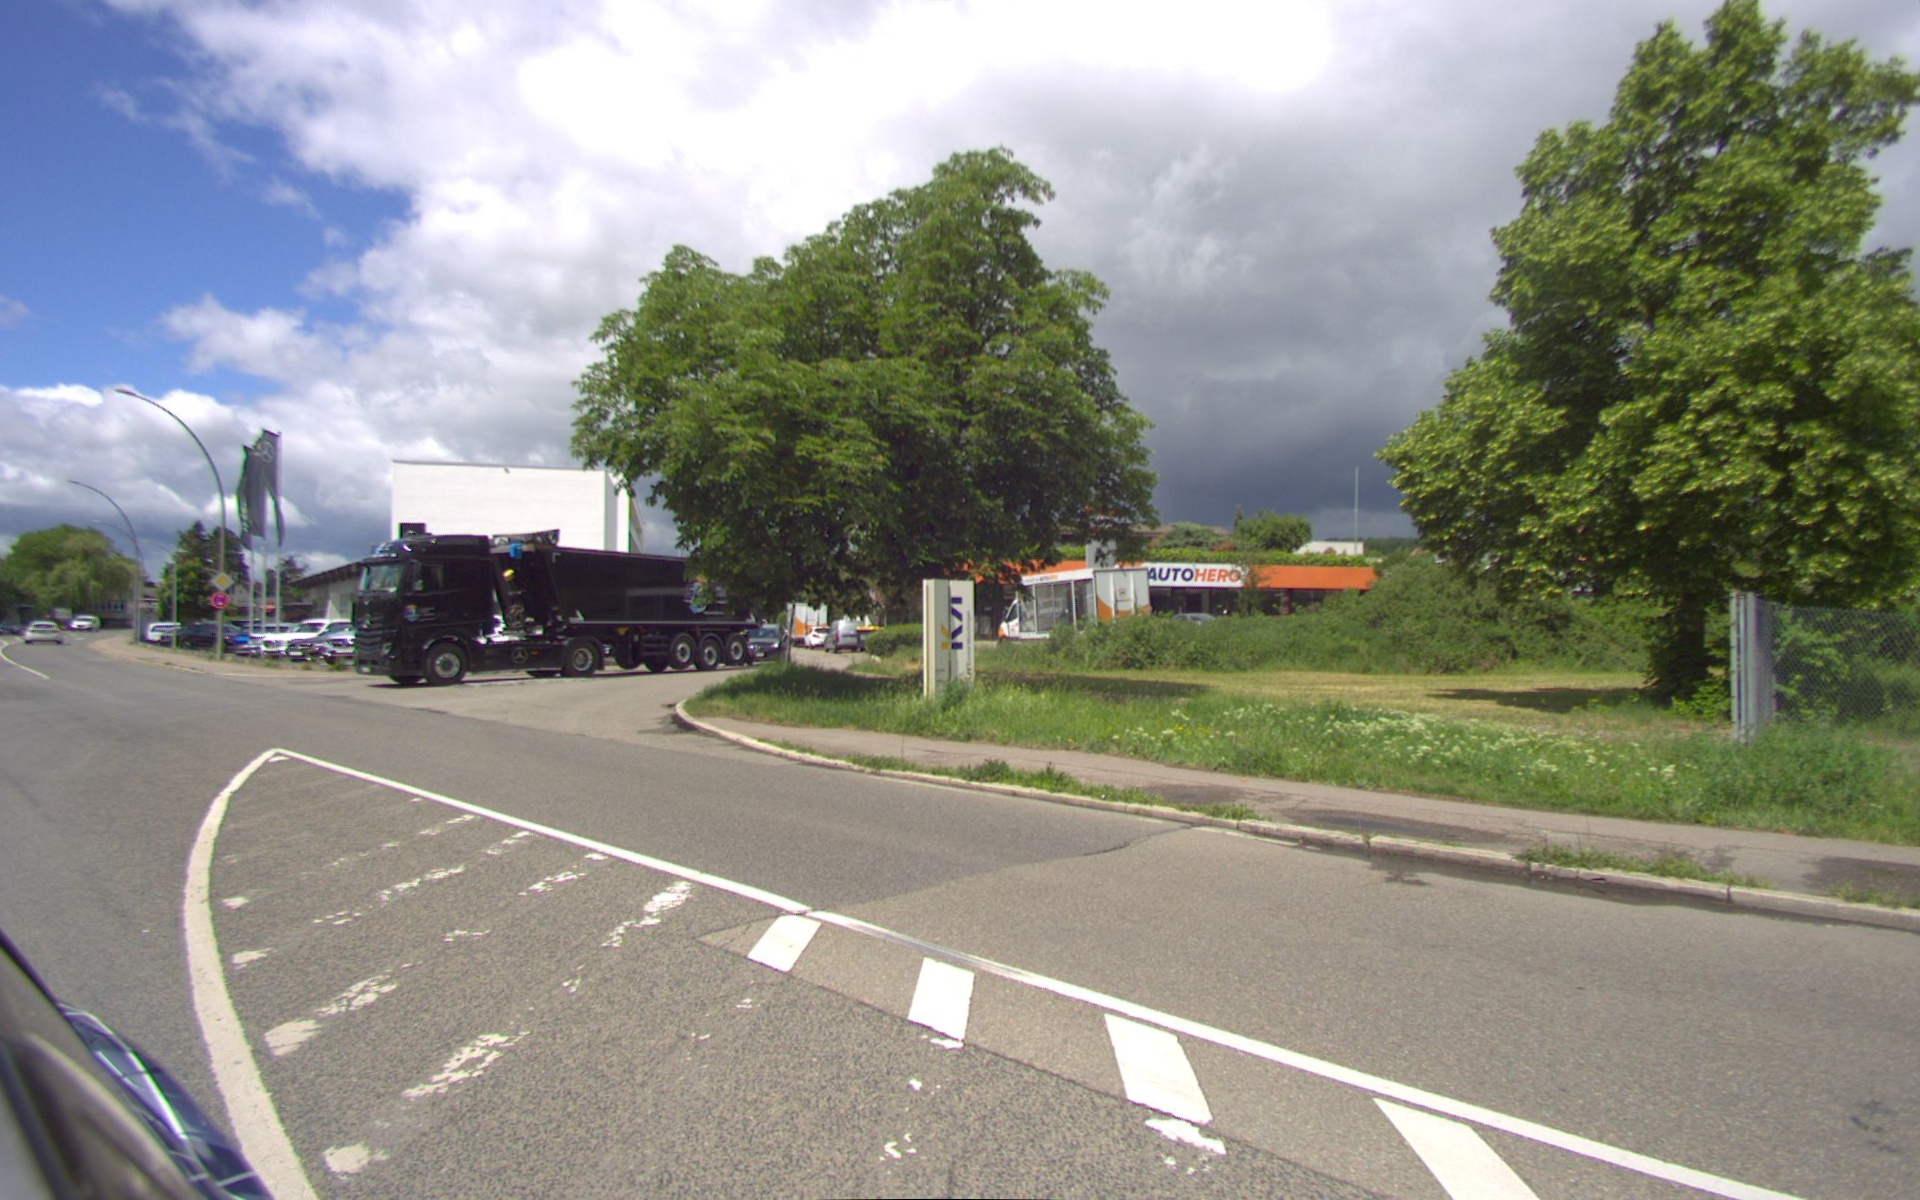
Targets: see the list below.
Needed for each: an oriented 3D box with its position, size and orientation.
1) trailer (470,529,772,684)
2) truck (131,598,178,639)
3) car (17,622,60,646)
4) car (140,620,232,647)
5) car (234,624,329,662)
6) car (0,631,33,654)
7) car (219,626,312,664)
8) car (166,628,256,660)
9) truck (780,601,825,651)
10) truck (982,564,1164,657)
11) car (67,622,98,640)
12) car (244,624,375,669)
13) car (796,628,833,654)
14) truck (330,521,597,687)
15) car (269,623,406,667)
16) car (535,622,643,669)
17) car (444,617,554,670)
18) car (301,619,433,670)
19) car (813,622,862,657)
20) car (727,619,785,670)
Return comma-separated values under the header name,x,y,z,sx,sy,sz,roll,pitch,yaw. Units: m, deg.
name,x,y,z,sx,sy,sz,roll,pitch,yaw
trailer,-10.120,0.319,31.788,3.302,4.114,9.381,0,-2,26
truck,-95.601,2.199,120.277,2.931,4.697,8.204,2,-2,-29
car,-60.315,2.209,66.275,1.969,1.461,4.432,4,-4,-42
car,-55.192,2.418,72.277,4.880,1.852,1.896,1,-3,-8
car,-29.871,1.890,44.736,1.843,1.578,4.530,-1,-2,-10
car,-85.204,3.780,91.255,1.924,2.029,4.008,2,-3,-38
car,-32.555,2.073,47.599,1.863,1.681,4.580,-1,-1,-10
car,-41.223,2.420,55.708,4.316,1.637,1.793,-2,1,18
truck,-11.451,1.891,73.001,2.406,3.449,7.842,1,-2,-15
truck,3.907,0.500,37.735,2.618,3.073,8.618,1,-2,-25
car,-102.428,3.616,118.130,1.922,2.029,4.012,2,-2,-29
car,-25.510,1.799,39.880,1.917,1.690,4.282,0,-2,12
car,-9.308,2.625,64.622,1.701,1.606,4.012,1,-2,-17
truck,-12.875,0.196,26.587,2.980,3.853,5.502,-1,-2,37
car,-22.884,1.631,37.420,1.780,1.477,4.308,-2,-2,15
car,-13.633,1.645,37.048,4.765,1.614,1.778,-2,-4,44
car,-16.129,1.478,35.298,4.601,1.734,1.909,-2,-2,44
car,-20.167,1.476,34.701,1.959,1.617,4.746,-1,-1,-3
car,-6.957,2.206,56.976,1.802,1.860,4.689,1,-2,-19
car,-7.980,1.731,39.869,1.927,1.890,4.123,0,-2,-7
